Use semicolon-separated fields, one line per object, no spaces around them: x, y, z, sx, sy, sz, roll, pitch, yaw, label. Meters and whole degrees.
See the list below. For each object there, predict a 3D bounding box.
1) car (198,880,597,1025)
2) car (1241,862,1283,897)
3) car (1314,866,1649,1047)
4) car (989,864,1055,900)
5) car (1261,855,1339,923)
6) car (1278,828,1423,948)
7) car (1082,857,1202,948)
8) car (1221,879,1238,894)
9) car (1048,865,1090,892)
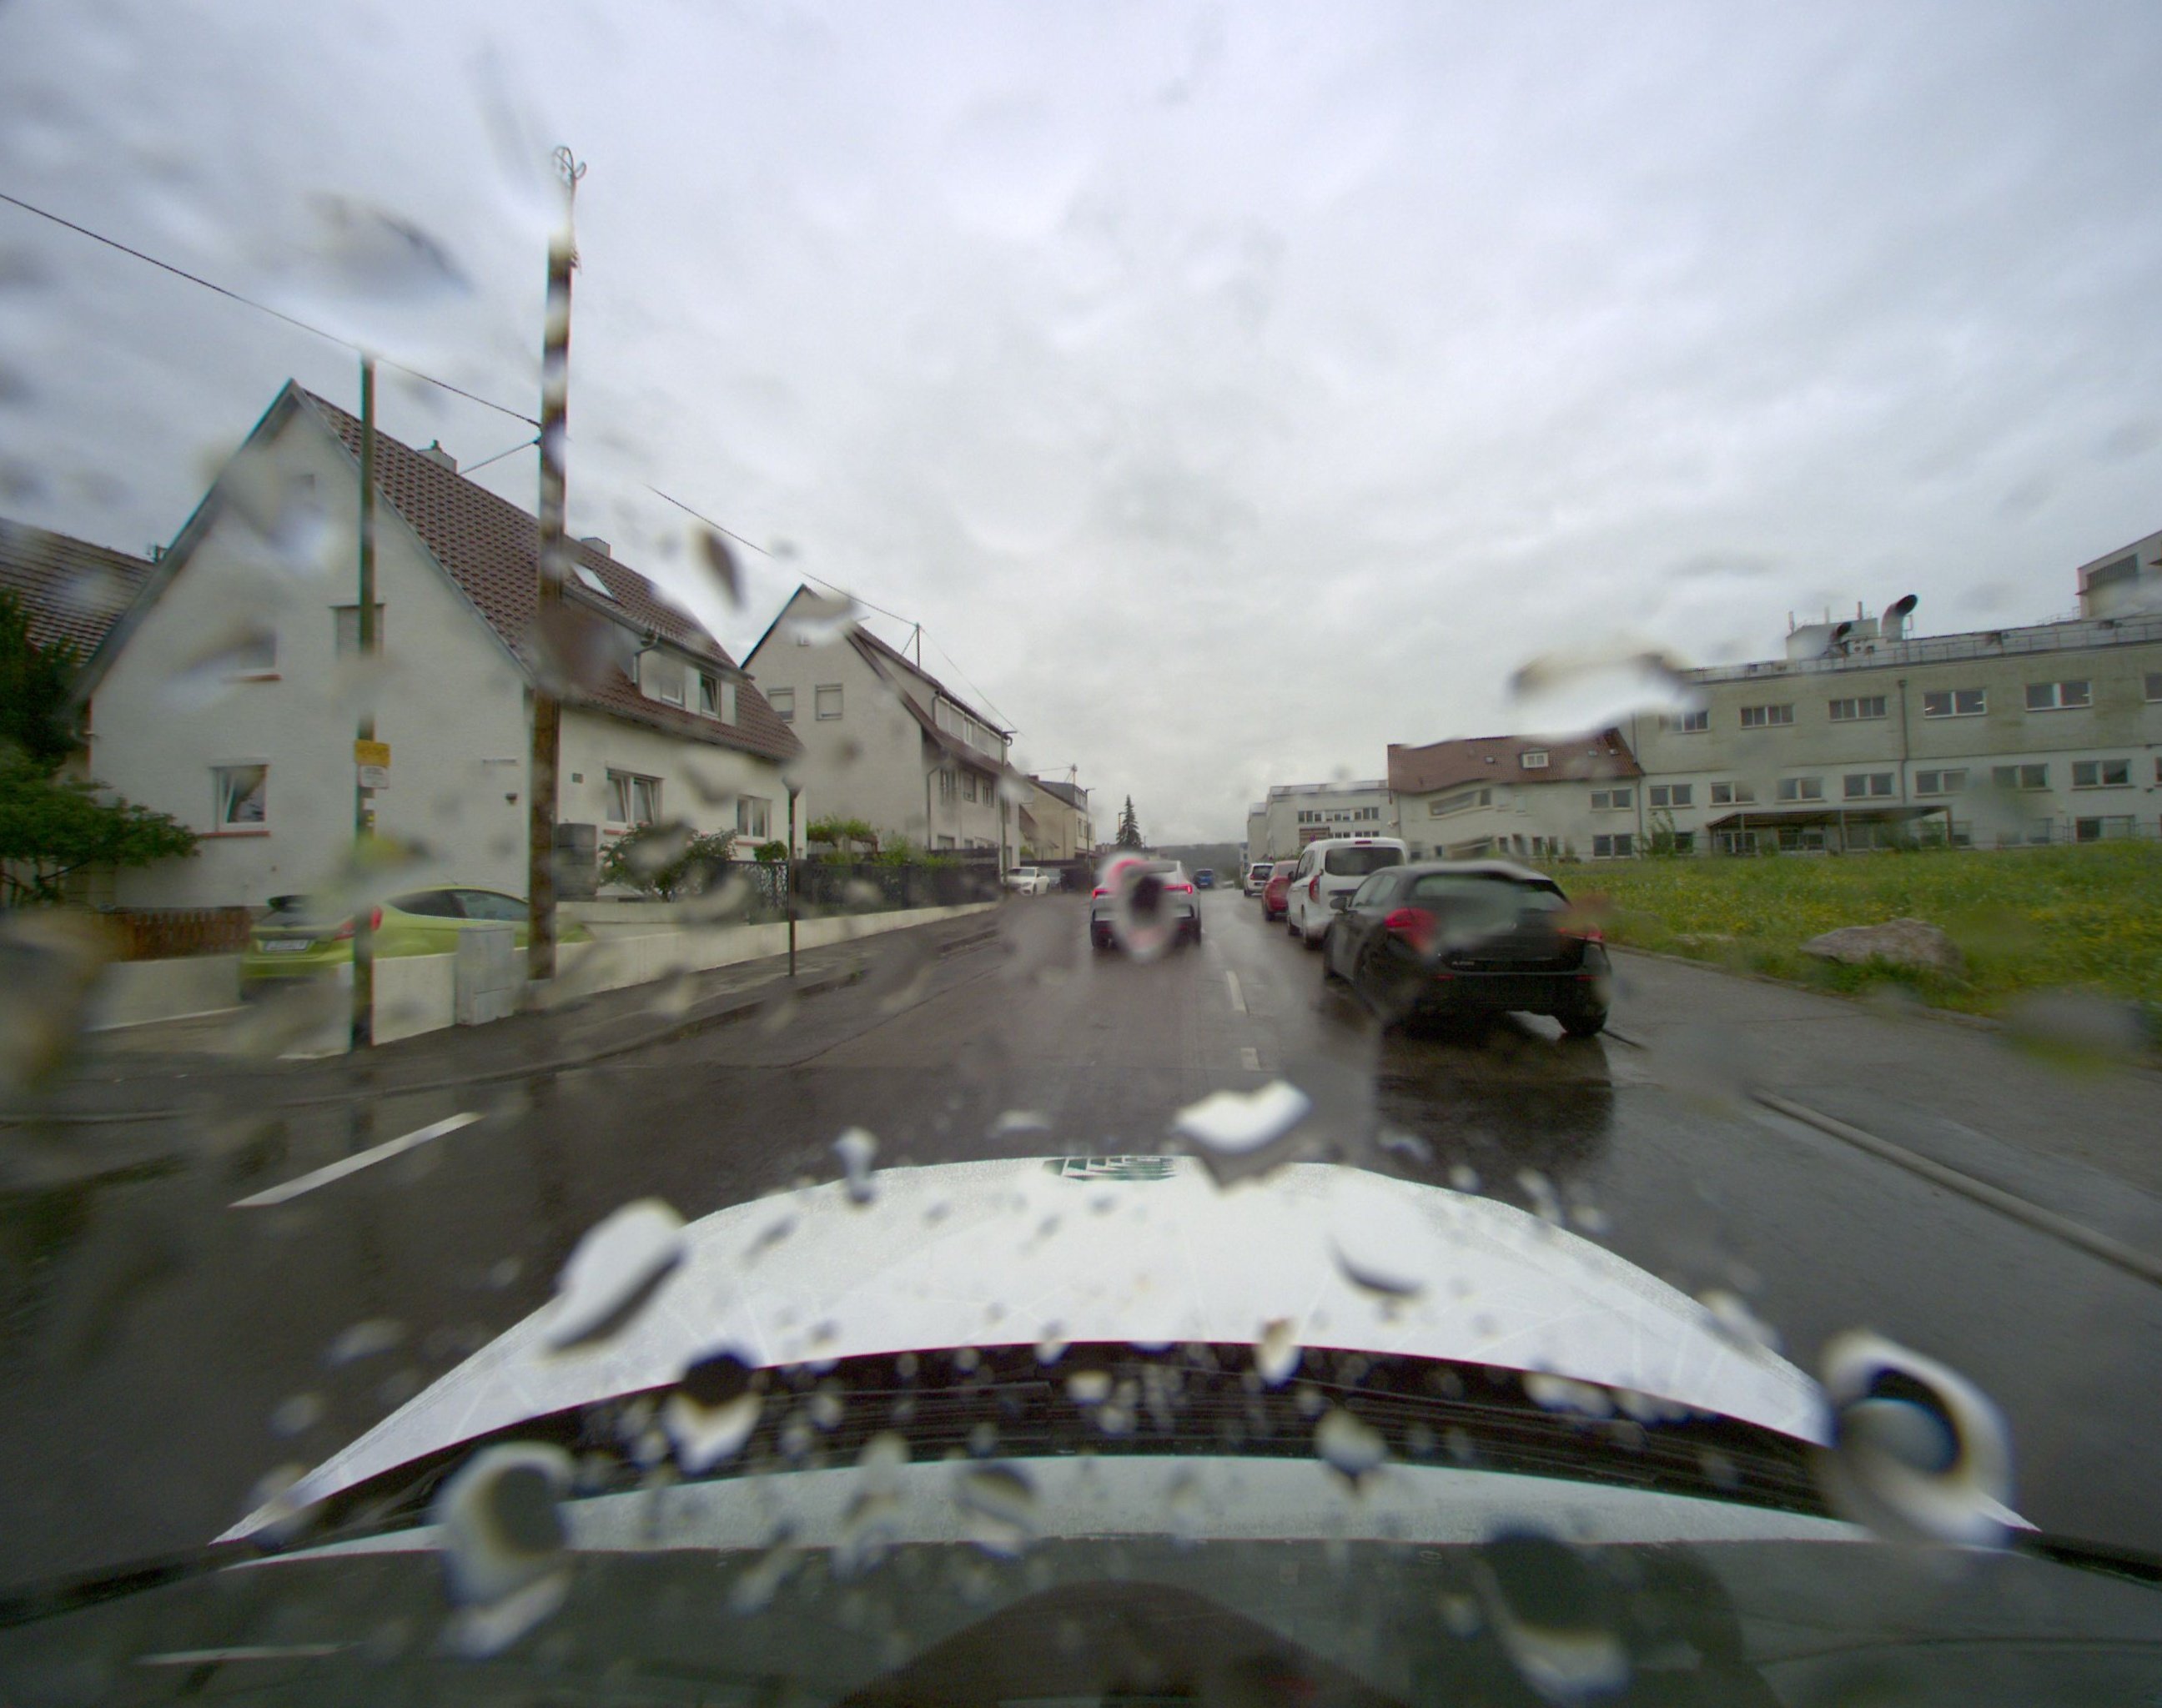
-8.187;1.088;10.218;1.768;1.467;3.466;-1;-2;10;car
8.565;1.189;38.762;1.671;1.557;3.683;-1;-1;9;car
3.616;0.799;8.297;1.759;1.336;4.329;-1;-1;7;car
-2.683;1.263;38.219;1.982;1.510;4.908;1;-1;9;car
5.610;0.848;21.322;1.632;1.575;4.657;-1;-1;11;car
4.674;0.551;14.765;1.758;1.825;4.585;-1;-1;9;car
1.362;0.853;16.075;1.982;1.502;4.681;-1;-1;9;car
21.694;4.799;119.156;1.983;2.014;4.005;-3;-5;6;car
-0.605;1.352;45.448;1.818;1.368;4.576;2;-1;5;car
